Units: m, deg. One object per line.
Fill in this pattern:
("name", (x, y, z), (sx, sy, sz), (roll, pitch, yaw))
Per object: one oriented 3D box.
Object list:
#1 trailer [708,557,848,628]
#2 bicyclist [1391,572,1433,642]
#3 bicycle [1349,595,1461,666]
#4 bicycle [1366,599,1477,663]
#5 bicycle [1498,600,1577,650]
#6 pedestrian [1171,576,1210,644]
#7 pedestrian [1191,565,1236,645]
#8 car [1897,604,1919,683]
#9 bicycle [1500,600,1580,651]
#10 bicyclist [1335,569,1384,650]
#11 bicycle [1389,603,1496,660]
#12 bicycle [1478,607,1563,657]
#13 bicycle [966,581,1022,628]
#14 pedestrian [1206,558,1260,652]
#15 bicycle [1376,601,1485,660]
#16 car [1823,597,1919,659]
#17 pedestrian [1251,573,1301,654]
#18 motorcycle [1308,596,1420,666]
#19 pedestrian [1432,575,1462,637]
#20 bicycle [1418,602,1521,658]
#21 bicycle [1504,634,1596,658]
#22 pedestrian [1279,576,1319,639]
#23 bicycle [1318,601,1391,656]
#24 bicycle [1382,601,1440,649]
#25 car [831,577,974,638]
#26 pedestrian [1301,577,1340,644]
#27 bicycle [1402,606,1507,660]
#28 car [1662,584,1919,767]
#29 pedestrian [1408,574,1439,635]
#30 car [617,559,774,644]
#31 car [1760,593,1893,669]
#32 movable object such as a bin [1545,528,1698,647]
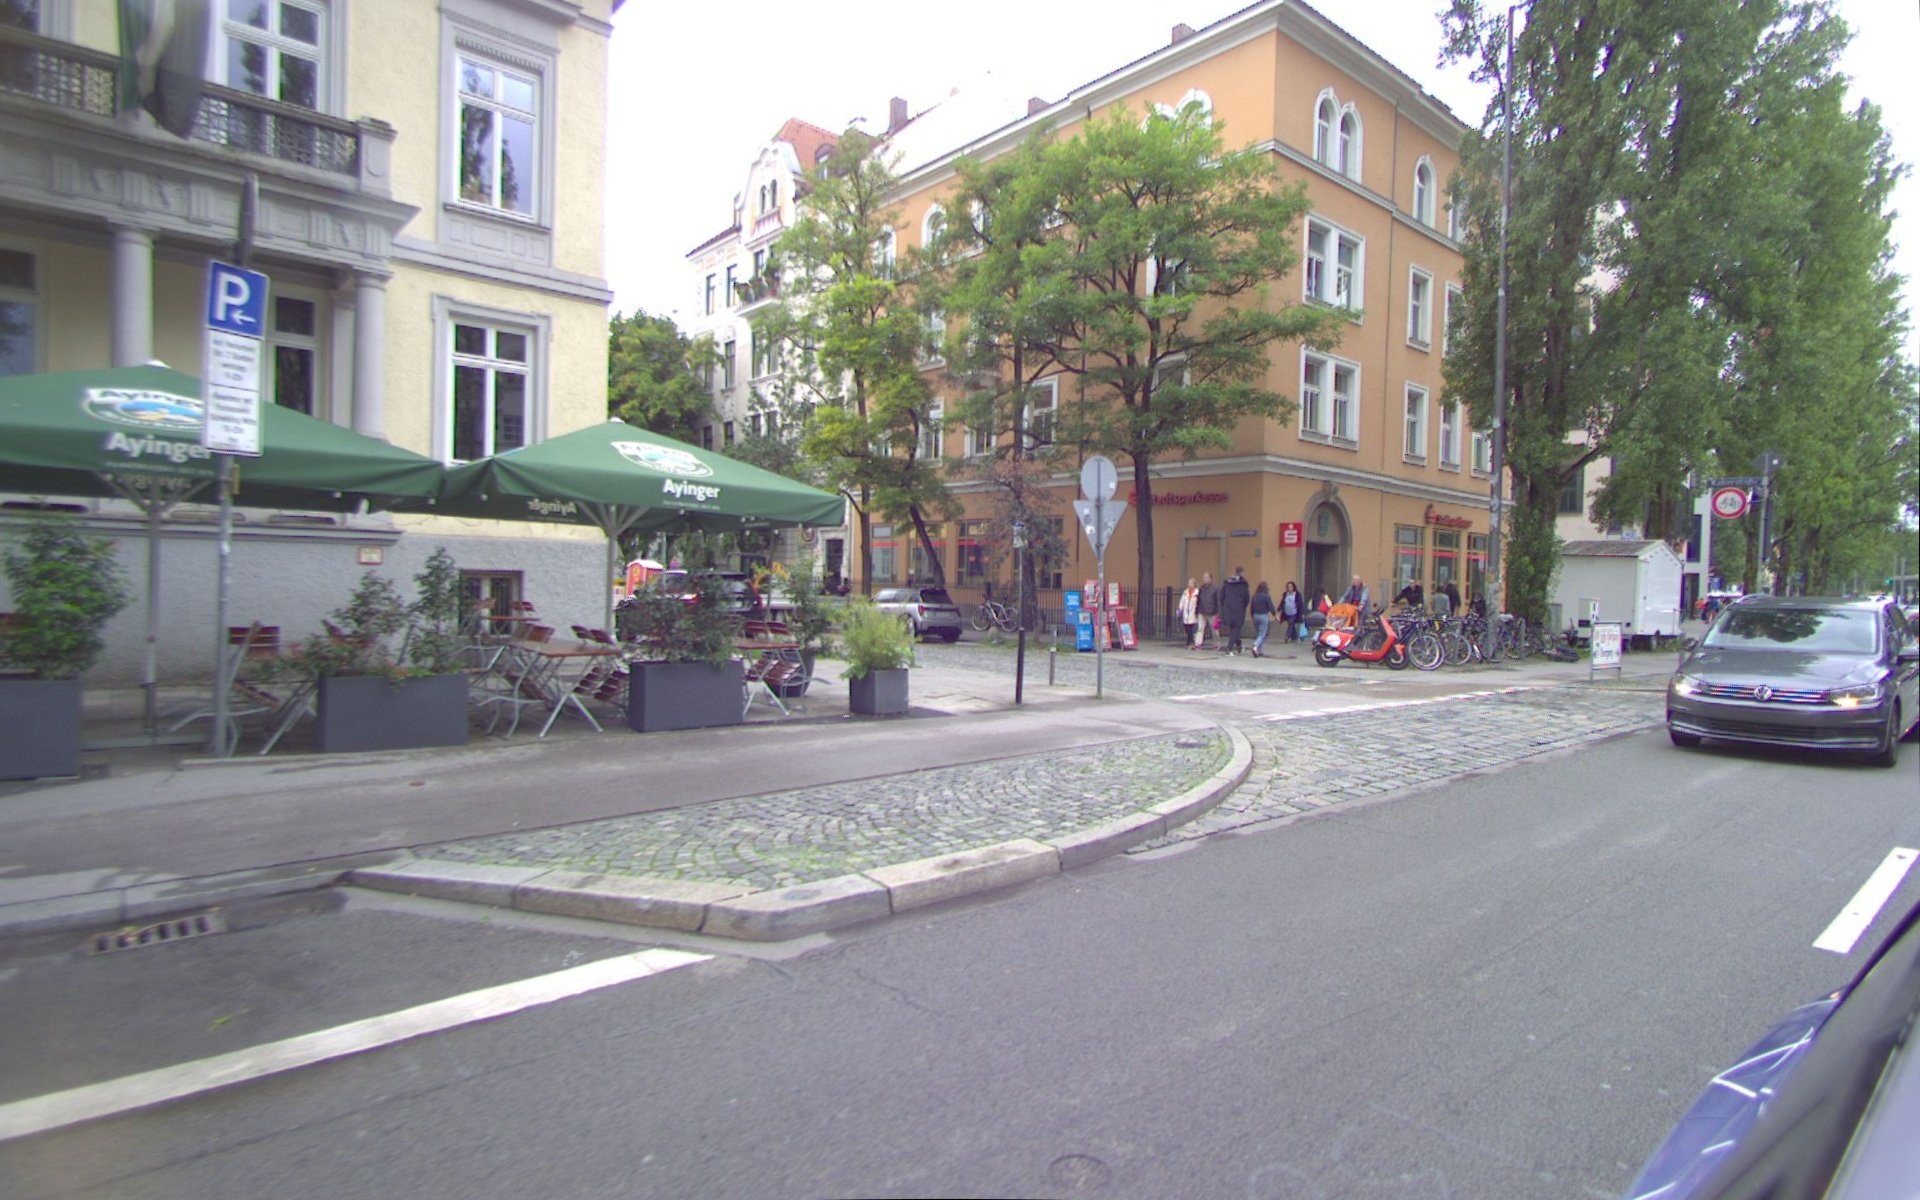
("trailer", (-5.813, -0.264, 31.850), (1.873, 2.054, 5.247), (1, 0, -41))
("bicyclist", (11.188, 0.163, 25.047), (0.738, 1.708, 0.737), (2, 1, 42))
("bicycle", (8.662, 0.565, 19.762), (0.551, 1.255, 1.945), (1, 1, -39))
("bicycle", (9.157, 0.588, 20.156), (0.551, 1.151, 1.945), (1, 1, -39))
("bicycle", (13.686, 0.581, 24.012), (1.593, 1.098, 0.319), (2, 1, 28))
("pedestrian", (5.437, 0.230, 23.836), (0.564, 1.591, 0.699), (0, 0, -38))
("pedestrian", (5.809, 0.109, 23.204), (0.718, 1.788, 0.699), (0, 0, -38))
("car", (19.512, 0.813, 19.619), (3.934, 1.451, 1.614), (0, 0, -42))
("bicycle", (13.547, 0.586, 23.676), (1.587, 1.098, 0.339), (2, 1, 28))
("bicyclist", (8.980, 0.197, 22.740), (0.828, 1.779, 0.657), (2, 1, 41))
("bicycle", (10.073, 0.633, 21.190), (0.551, 1.089, 1.945), (1, 1, -39))
("bicycle", (12.475, 0.694, 22.562), (1.597, 1.022, 0.337), (2, 1, 43))
("bicycle", (1.012, 0.121, 30.501), (0.551, 1.389, 1.945), (1, 0, -39))
("pedestrian", (5.913, 0.098, 21.925), (0.788, 1.973, 0.839), (0, 0, -41))
("bicycle", (9.570, 0.597, 20.655), (0.551, 1.102, 1.945), (1, 1, -39))
("car", (26.450, 0.749, 29.208), (4.421, 1.634, 1.787), (0, 0, -42))
("pedestrian", (6.710, 0.278, 21.501), (0.758, 1.682, 0.745), (0, 0, -41))
("motorcycle", (7.732, 0.576, 19.392), (1.939, 1.236, 0.510), (2, 1, 24))
("pedestrian", (13.780, 0.171, 28.621), (0.565, 1.715, 0.618), (0, 0, -45))
("bicycle", (11.076, 0.633, 22.063), (0.551, 1.098, 1.945), (1, 1, -39))
("bicycle", (13.300, 1.021, 22.825), (1.671, 0.378, 0.818), (4, 3, 42))
("pedestrian", (8.759, 0.179, 26.138), (0.651, 1.591, 0.746), (0, 0, -38))
("bicycle", (8.777, 0.595, 22.480), (0.883, 1.134, 2.071), (2, 1, 40))
("bicycle", (11.197, 0.591, 25.076), (0.734, 1.134, 2.071), (2, 1, 41))
("car", (-1.642, 0.179, 27.823), (1.873, 1.539, 3.993), (0, 0, -42))
("pedestrian", (8.656, 0.240, 24.284), (0.742, 1.591, 0.606), (0, 0, 37))
("bicycle", (10.522, 0.683, 21.578), (0.551, 1.022, 1.945), (1, 1, -39))
("car", (9.304, 0.660, 10.972), (4.120, 1.611, 1.880), (0, 0, -42))
("pedestrian", (13.340, 0.129, 29.119), (0.565, 1.715, 0.633), (0, 0, -43))
("car", (-6.036, 0.015, 22.723), (1.934, 1.724, 4.429), (0, 0, -36))
("car", (20.179, 0.658, 23.507), (4.421, 1.572, 1.787), (0, 0, -42))
("movable object such as a bin", (19.187, -0.379, 29.314), (4.463, 3.175, 2.445), (1, 2, -41))
